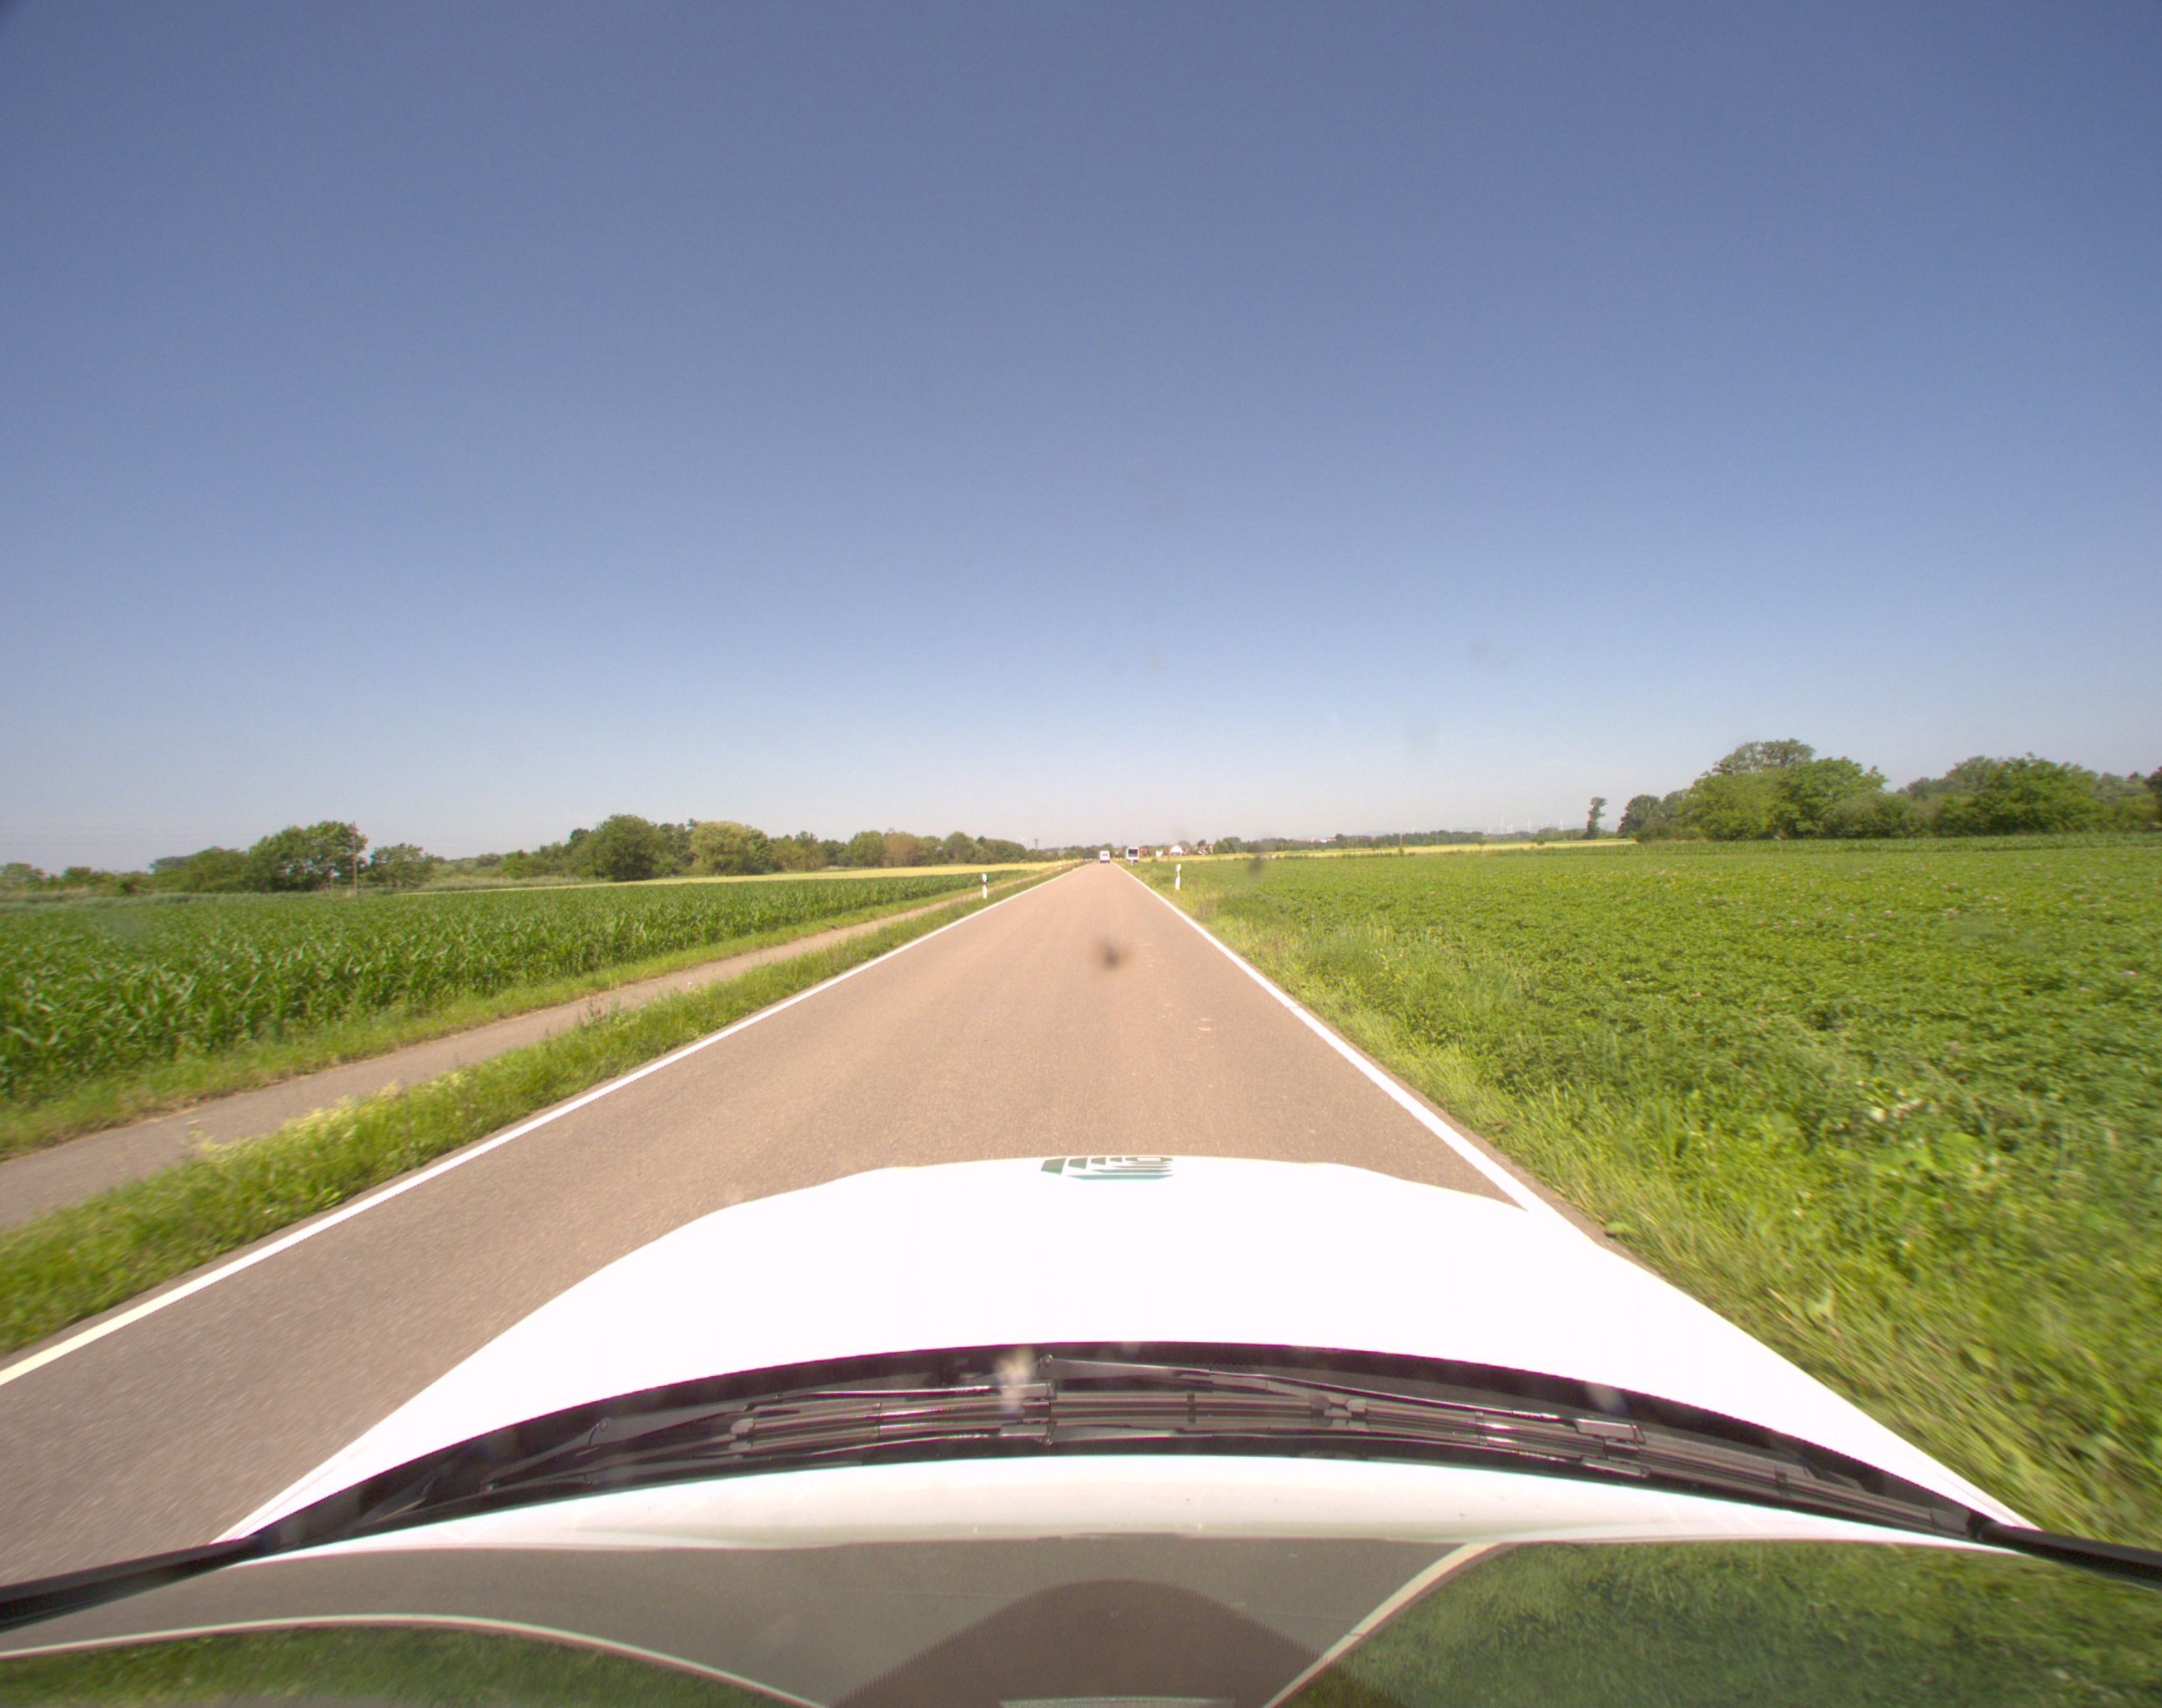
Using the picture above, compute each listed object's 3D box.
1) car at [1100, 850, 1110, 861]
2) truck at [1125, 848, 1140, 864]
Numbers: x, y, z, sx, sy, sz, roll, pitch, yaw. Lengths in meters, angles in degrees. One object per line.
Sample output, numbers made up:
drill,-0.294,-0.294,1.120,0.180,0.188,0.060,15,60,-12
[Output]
car,5.035,0.373,169.883,2.099,2.304,5.497,0,-1,2
truck,9.454,0.396,150.777,2.328,2.942,7.007,1,-1,0
